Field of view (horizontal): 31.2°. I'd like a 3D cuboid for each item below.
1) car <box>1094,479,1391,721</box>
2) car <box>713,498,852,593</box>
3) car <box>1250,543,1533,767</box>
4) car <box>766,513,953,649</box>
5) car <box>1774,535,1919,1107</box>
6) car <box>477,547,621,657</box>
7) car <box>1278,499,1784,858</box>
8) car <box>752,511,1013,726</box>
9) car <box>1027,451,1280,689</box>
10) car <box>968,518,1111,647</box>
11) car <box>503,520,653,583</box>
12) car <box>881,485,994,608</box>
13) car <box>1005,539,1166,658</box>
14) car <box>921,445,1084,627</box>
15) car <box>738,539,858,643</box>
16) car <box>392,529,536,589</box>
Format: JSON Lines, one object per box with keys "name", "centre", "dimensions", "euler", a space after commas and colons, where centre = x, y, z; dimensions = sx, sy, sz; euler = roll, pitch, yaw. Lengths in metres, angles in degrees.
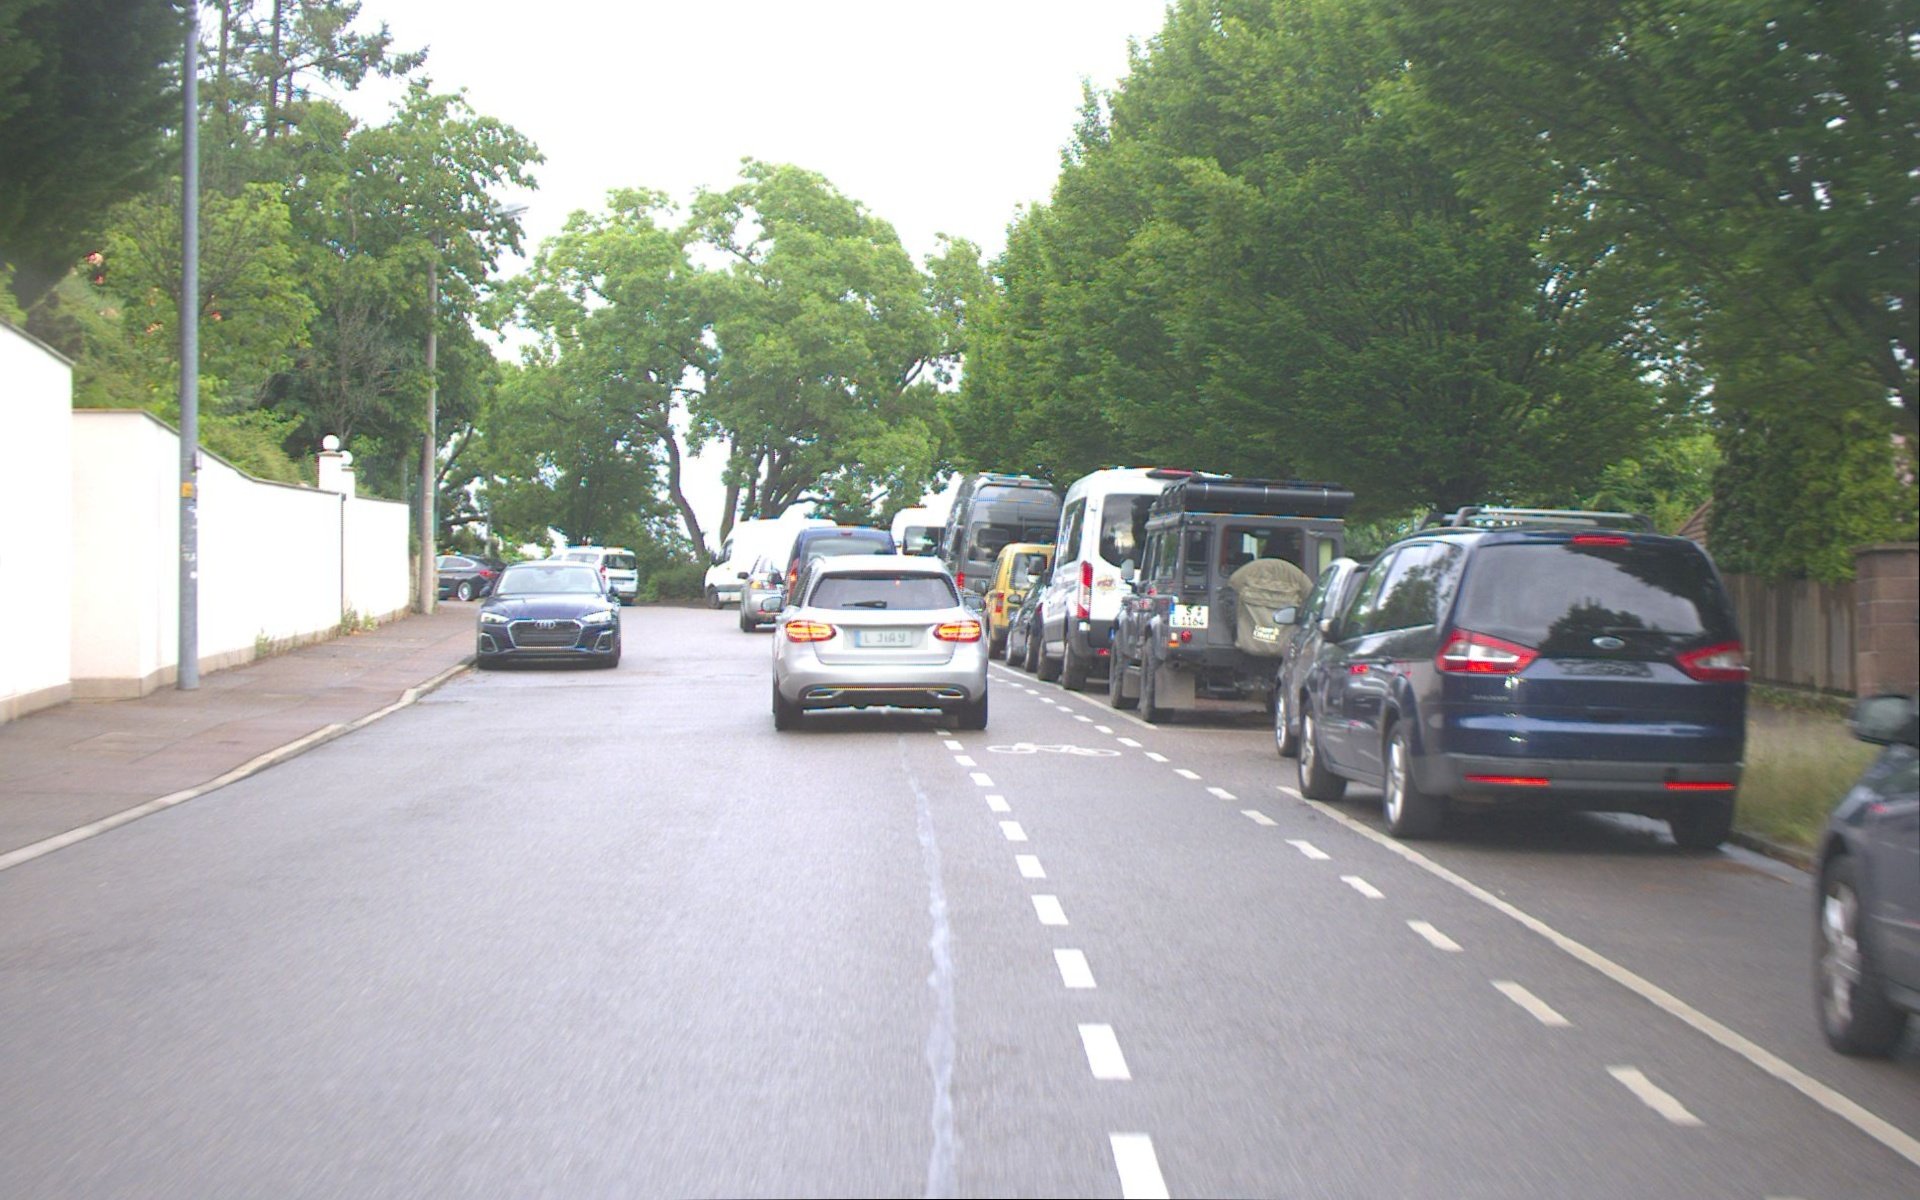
{"name": "car", "centre": [2.575, -0.035, 32.693], "dimensions": [1.993, 2.045, 5.122], "euler": [2, 1, -4]}
{"name": "car", "centre": [-5.126, -1.583, 98.463], "dimensions": [2.125, 2.518, 4.497], "euler": [3, 1, -28]}
{"name": "car", "centre": [3.199, 0.372, 25.984], "dimensions": [1.596, 1.553, 2.955], "euler": [1, 1, -3]}
{"name": "car", "centre": [-1.428, -0.257, 47.191], "dimensions": [1.993, 1.702, 4.001], "euler": [2, 0, -9]}
{"name": "car", "centre": [3.493, 0.638, 9.168], "dimensions": [1.693, 1.565, 3.922], "euler": [2, 1, 1]}
{"name": "car", "centre": [-5.464, -0.011, 46.109], "dimensions": [1.748, 1.353, 4.426], "euler": [-1, 1, -5]}
{"name": "car", "centre": [3.115, 0.354, 19.762], "dimensions": [1.780, 1.777, 4.680], "euler": [2, 1, -4]}
{"name": "car", "centre": [-0.749, 0.103, 29.789], "dimensions": [2.025, 1.702, 4.216], "euler": [-1, 1, -4]}
{"name": "car", "centre": [2.171, -0.379, 40.593], "dimensions": [2.173, 2.484, 6.034], "euler": [3, 1, -3]}
{"name": "car", "centre": [1.192, -0.302, 53.338], "dimensions": [1.727, 1.779, 4.276], "euler": [5, 1, -3]}
{"name": "car", "centre": [-12.003, -1.531, 107.987], "dimensions": [4.492, 1.692, 1.966], "euler": [4, 1, 37]}
{"name": "car", "centre": [-0.531, -1.177, 75.147], "dimensions": [2.064, 2.486, 4.760], "euler": [3, 1, -4]}
{"name": "car", "centre": [1.700, -0.050, 47.809], "dimensions": [1.671, 1.453, 4.224], "euler": [4, 1, -4]}
{"name": "car", "centre": [0.670, -1.116, 59.571], "dimensions": [2.124, 2.877, 5.770], "euler": [3, 1, -5]}
{"name": "car", "centre": [-2.855, -0.156, 61.205], "dimensions": [1.993, 1.702, 4.000], "euler": [2, 0, -2]}
{"name": "car", "centre": [-16.113, -1.333, 111.514], "dimensions": [4.666, 1.692, 1.966], "euler": [4, 1, 41]}
